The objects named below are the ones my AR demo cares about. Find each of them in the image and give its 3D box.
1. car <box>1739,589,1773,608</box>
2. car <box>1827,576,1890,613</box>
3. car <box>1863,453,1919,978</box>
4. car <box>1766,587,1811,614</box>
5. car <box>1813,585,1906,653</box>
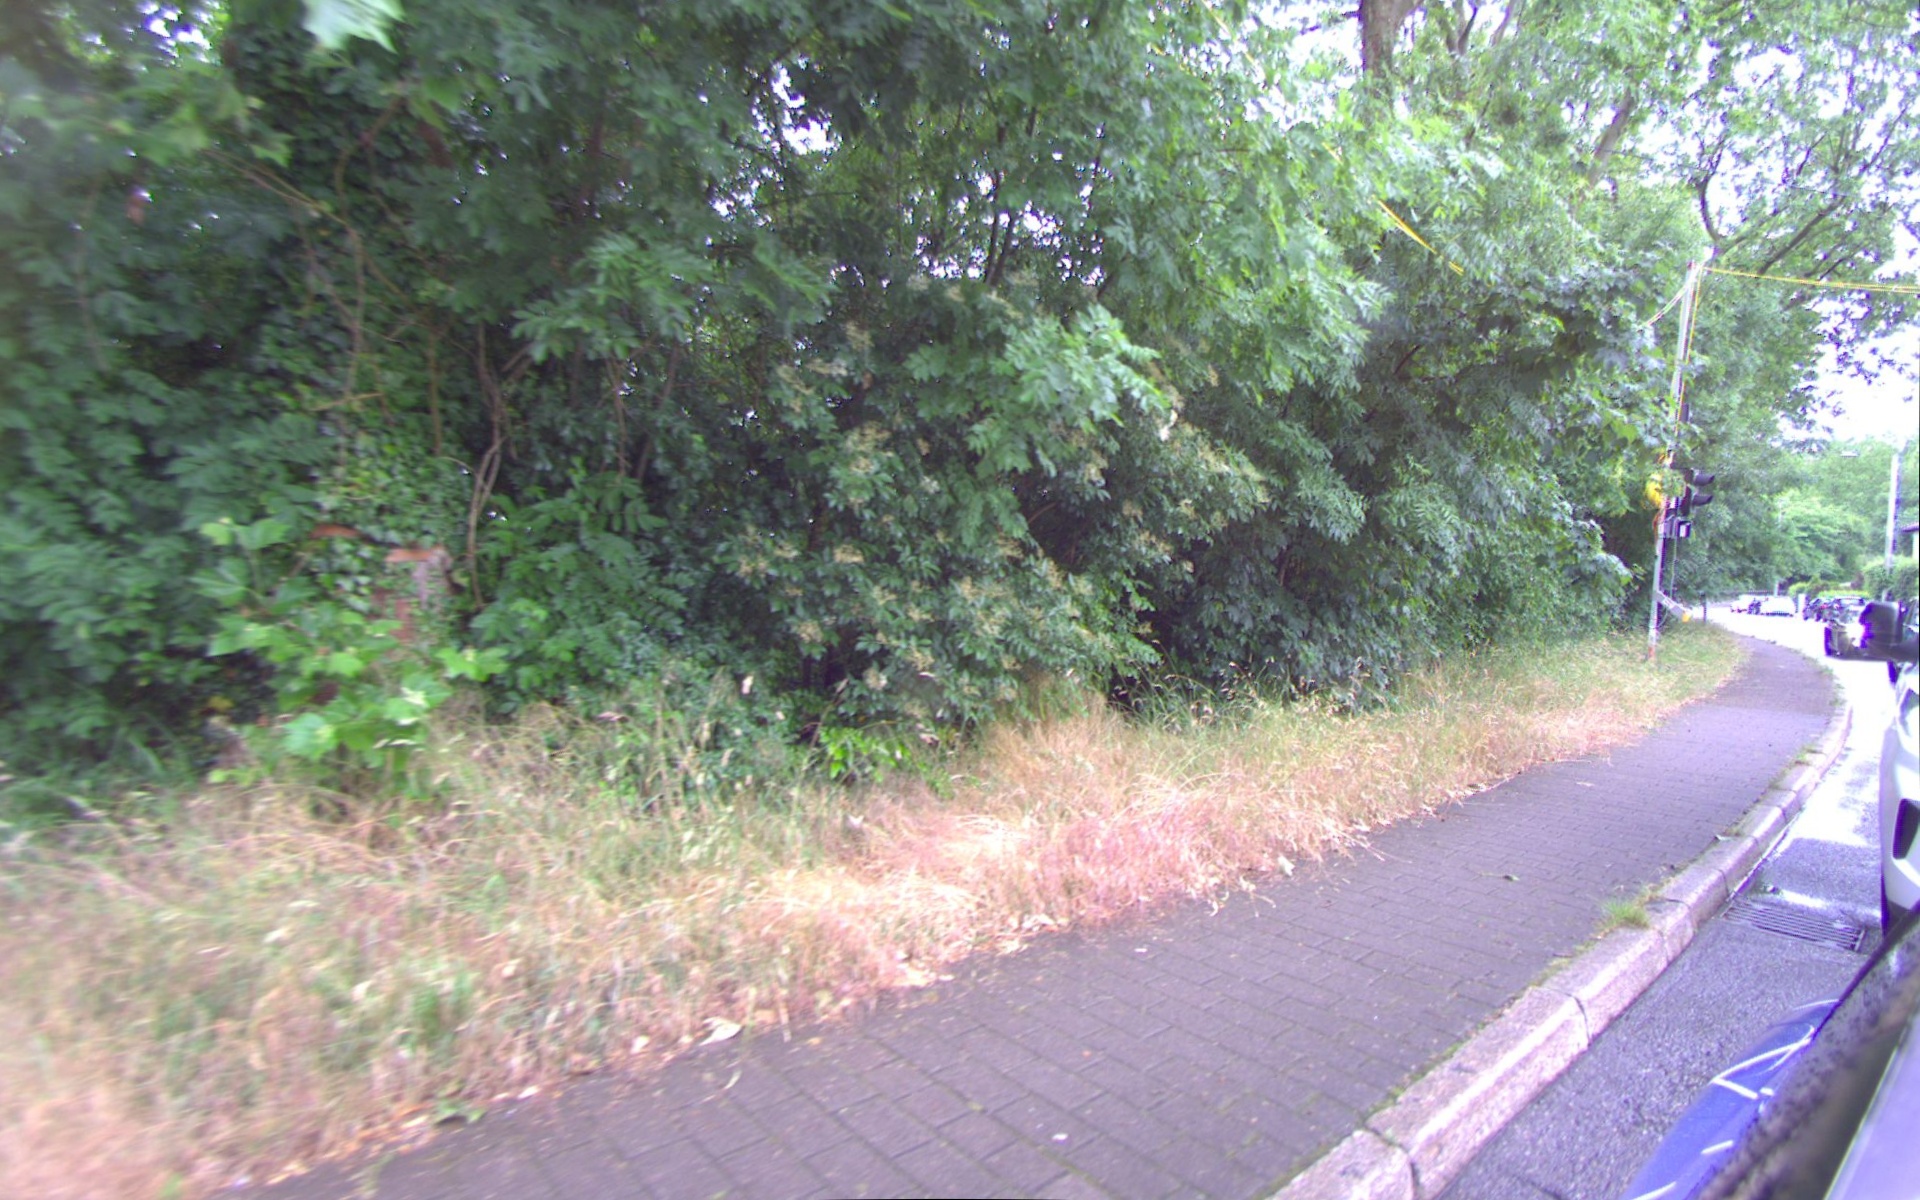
[{"bbox_3d":[64.922,-0.141,82.608,1.752,1.547,3.550,0,1,32],"label":"car"},{"bbox_3d":[51.146,-0.309,57.683,1.984,2.039,3.955,0,1,32],"label":"car"},{"bbox_3d":[5.991,0.391,4.705,5.118,1.917,2.044,-1,1,-41],"label":"car"},{"bbox_3d":[60.604,-0.001,74.076,1.984,1.884,4.312,0,1,32],"label":"car"},{"bbox_3d":[23.128,0.508,26.124,1.663,1.610,3.946,0,-2,40],"label":"car"}]
